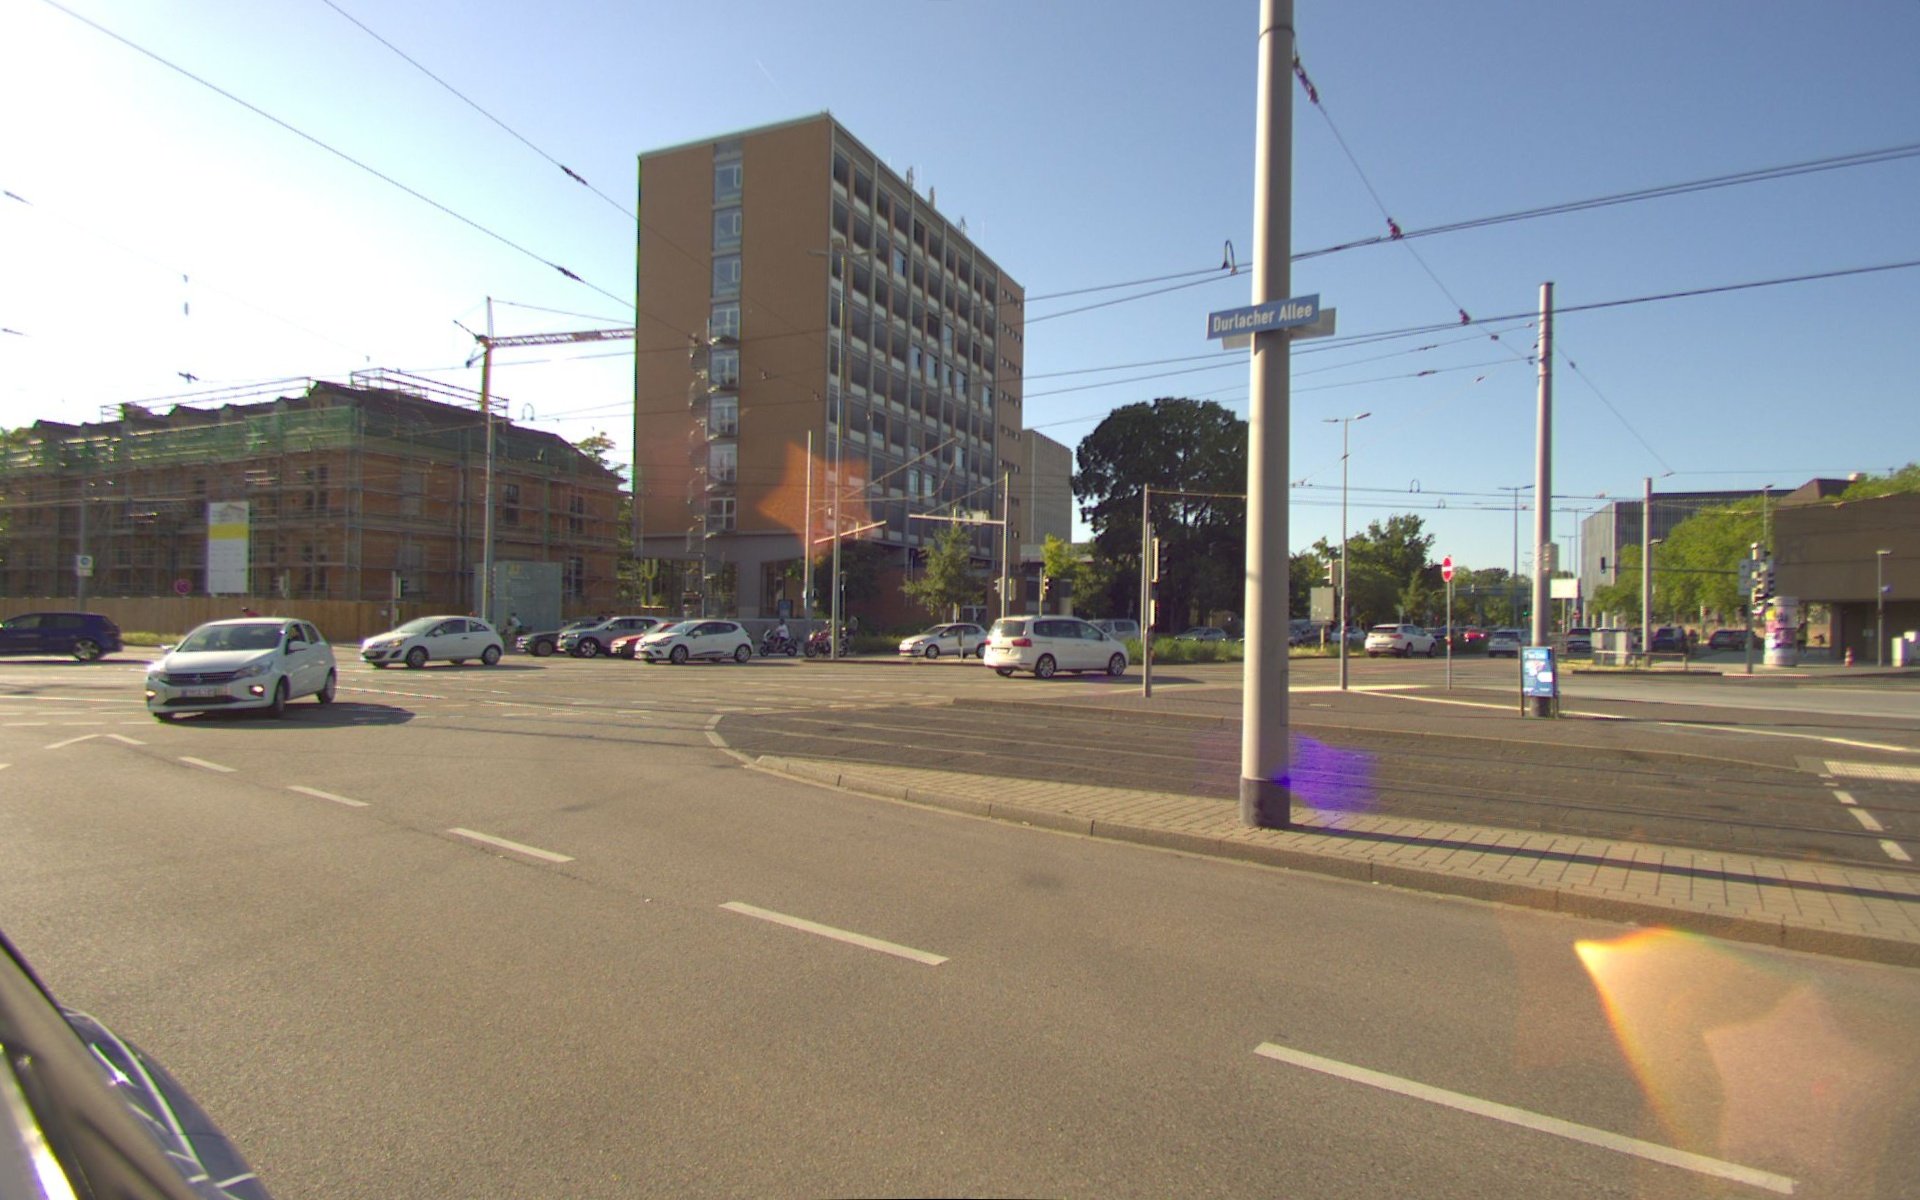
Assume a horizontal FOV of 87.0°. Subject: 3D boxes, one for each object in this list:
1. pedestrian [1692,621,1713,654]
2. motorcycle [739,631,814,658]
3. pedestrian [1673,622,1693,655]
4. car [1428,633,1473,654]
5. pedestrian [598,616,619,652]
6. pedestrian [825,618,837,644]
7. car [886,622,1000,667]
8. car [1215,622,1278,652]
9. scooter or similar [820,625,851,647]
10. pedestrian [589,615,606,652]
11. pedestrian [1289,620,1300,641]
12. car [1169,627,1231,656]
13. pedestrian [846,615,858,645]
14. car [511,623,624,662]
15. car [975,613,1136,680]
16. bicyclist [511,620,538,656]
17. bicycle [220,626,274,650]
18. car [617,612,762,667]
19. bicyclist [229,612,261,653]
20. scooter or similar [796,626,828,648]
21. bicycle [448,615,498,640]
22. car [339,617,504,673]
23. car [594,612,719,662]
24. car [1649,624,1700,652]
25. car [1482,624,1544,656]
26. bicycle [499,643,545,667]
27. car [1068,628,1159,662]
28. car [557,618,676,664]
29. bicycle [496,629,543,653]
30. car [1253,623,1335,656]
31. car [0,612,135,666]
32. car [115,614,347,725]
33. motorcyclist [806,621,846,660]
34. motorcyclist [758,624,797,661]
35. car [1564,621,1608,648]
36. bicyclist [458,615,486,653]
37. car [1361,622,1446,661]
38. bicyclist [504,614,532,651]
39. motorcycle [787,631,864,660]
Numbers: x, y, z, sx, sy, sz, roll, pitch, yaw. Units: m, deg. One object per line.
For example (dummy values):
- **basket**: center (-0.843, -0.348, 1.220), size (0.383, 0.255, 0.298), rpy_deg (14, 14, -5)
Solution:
- **pedestrian**: center (40.879, 2.093, 55.729), size (0.802, 1.782, 0.962), rpy_deg (-3, -4, 34)
- **motorcycle**: center (-8.373, 2.046, 46.273), size (3.178, 1.204, 1.121), rpy_deg (2, -4, -32)
- **pedestrian**: center (40.152, 2.133, 56.193), size (0.802, 1.782, 0.952), rpy_deg (-3, -4, 34)
- **car**: center (41.594, 3.671, 85.720), size (2.001, 1.697, 4.638), rpy_deg (-4, -5, 45)
- **pedestrian**: center (-17.464, 1.678, 50.259), size (0.722, 1.752, 0.623), rpy_deg (2, -1, -42)
- **pedestrian**: center (-8.311, 2.034, 65.334), size (0.574, 1.648, 0.497), rpy_deg (-4, -5, 44)
- **car**: center (-0.680, 1.769, 40.981), size (4.212, 1.689, 2.005), rpy_deg (2, -1, -35)
- **car**: center (17.628, 2.267, 62.175), size (3.936, 1.741, 1.826), rpy_deg (2, -2, -39)
- **scooter or similar**: center (-7.484, 2.151, 60.793), size (1.802, 1.257, 0.801), rpy_deg (0, -4, -4)
- **pedestrian**: center (-17.783, 1.634, 49.630), size (0.612, 1.752, 0.667), rpy_deg (2, -1, -11)
- **pedestrian**: center (26.731, 2.462, 80.913), size (0.583, 1.674, 0.566), rpy_deg (2, -5, -38)
- **car**: center (15.085, 2.567, 63.515), size (3.936, 1.741, 1.826), rpy_deg (2, -2, -39)
- **pedestrian**: center (-5.988, 1.659, 56.233), size (0.428, 1.648, 0.497), rpy_deg (-4, -5, 44)
- **car**: center (-15.854, 1.680, 40.965), size (3.953, 1.475, 1.761), rpy_deg (0, -1, -36)
- **car**: center (2.746, 1.267, 28.628), size (4.391, 1.747, 1.946), rpy_deg (1, -1, -37)
- **bicyclist**: center (-20.374, 1.770, 47.347), size (1.000, 1.599, 0.695), rpy_deg (3, 1, -10)
- **bicycle**: center (-31.549, 1.696, 44.803), size (1.847, 0.977, 0.714), rpy_deg (3, 1, -28)
- **car**: center (-8.916, 1.269, 33.606), size (1.999, 1.689, 4.224), rpy_deg (0, -1, 42)
- **bicyclist**: center (-31.605, 1.428, 44.764), size (0.999, 1.721, 0.696), rpy_deg (3, 1, -28)
- **scooter or similar**: center (-8.733, 2.192, 59.679), size (1.689, 1.257, 0.797), rpy_deg (-1, -4, 10)
- **bicycle**: center (-20.876, 1.191, 43.410), size (1.847, 0.977, 0.714), rpy_deg (3, 1, -28)
- **car**: center (-15.496, 1.264, 29.331), size (1.777, 1.475, 3.876), rpy_deg (1, -1, 29)
- **car**: center (-11.096, 1.386, 37.148), size (3.935, 1.697, 2.004), rpy_deg (2, -5, -38)
- **car**: center (43.873, 2.349, 62.089), size (1.865, 1.643, 3.978), rpy_deg (-6, -6, 44)
- **car**: center (28.612, 2.044, 52.329), size (1.847, 1.433, 4.371), rpy_deg (4, 1, 41)
- **bicycle**: center (-20.478, 2.566, 47.346), size (1.850, 0.977, 0.714), rpy_deg (3, 1, -10)
- **car**: center (8.194, 2.400, 53.973), size (4.628, 1.697, 2.005), rpy_deg (2, -4, -34)
- **car**: center (-13.196, 1.530, 38.887), size (3.933, 1.618, 2.005), rpy_deg (0, 1, -34)
- **bicycle**: center (-20.063, 1.858, 46.110), size (1.848, 0.977, 0.714), rpy_deg (3, 1, -15)
- **car**: center (18.134, 2.147, 54.837), size (4.543, 1.701, 2.004), rpy_deg (2, -1, -38)
- **car**: center (-27.199, 1.112, 29.556), size (4.575, 1.504, 1.823), rpy_deg (2, -1, -33)
- **car**: center (-11.339, 1.011, 16.084), size (1.692, 1.503, 3.881), rpy_deg (2, -1, -15)
- **motorcyclist**: center (-5.890, 1.802, 44.499), size (1.429, 1.680, 1.121), rpy_deg (2, -4, -32)
- **motorcyclist**: center (-8.367, 1.955, 46.316), size (1.429, 1.680, 1.121), rpy_deg (2, -4, -32)
- **car**: center (39.336, 2.170, 63.530), size (1.721, 1.643, 3.817), rpy_deg (-2, -3, 41)
- **bicyclist**: center (-20.914, 1.458, 43.400), size (0.999, 1.599, 0.696), rpy_deg (3, 1, -28)
- **car**: center (21.676, 2.017, 49.443), size (4.549, 1.760, 1.945), rpy_deg (2, -2, -39)
- **bicyclist**: center (-20.130, 1.478, 46.099), size (1.000, 1.599, 0.696), rpy_deg (3, 1, -15)
- **motorcycle**: center (-5.890, 2.015, 44.482), size (3.178, 1.204, 1.121), rpy_deg (2, -4, -32)
